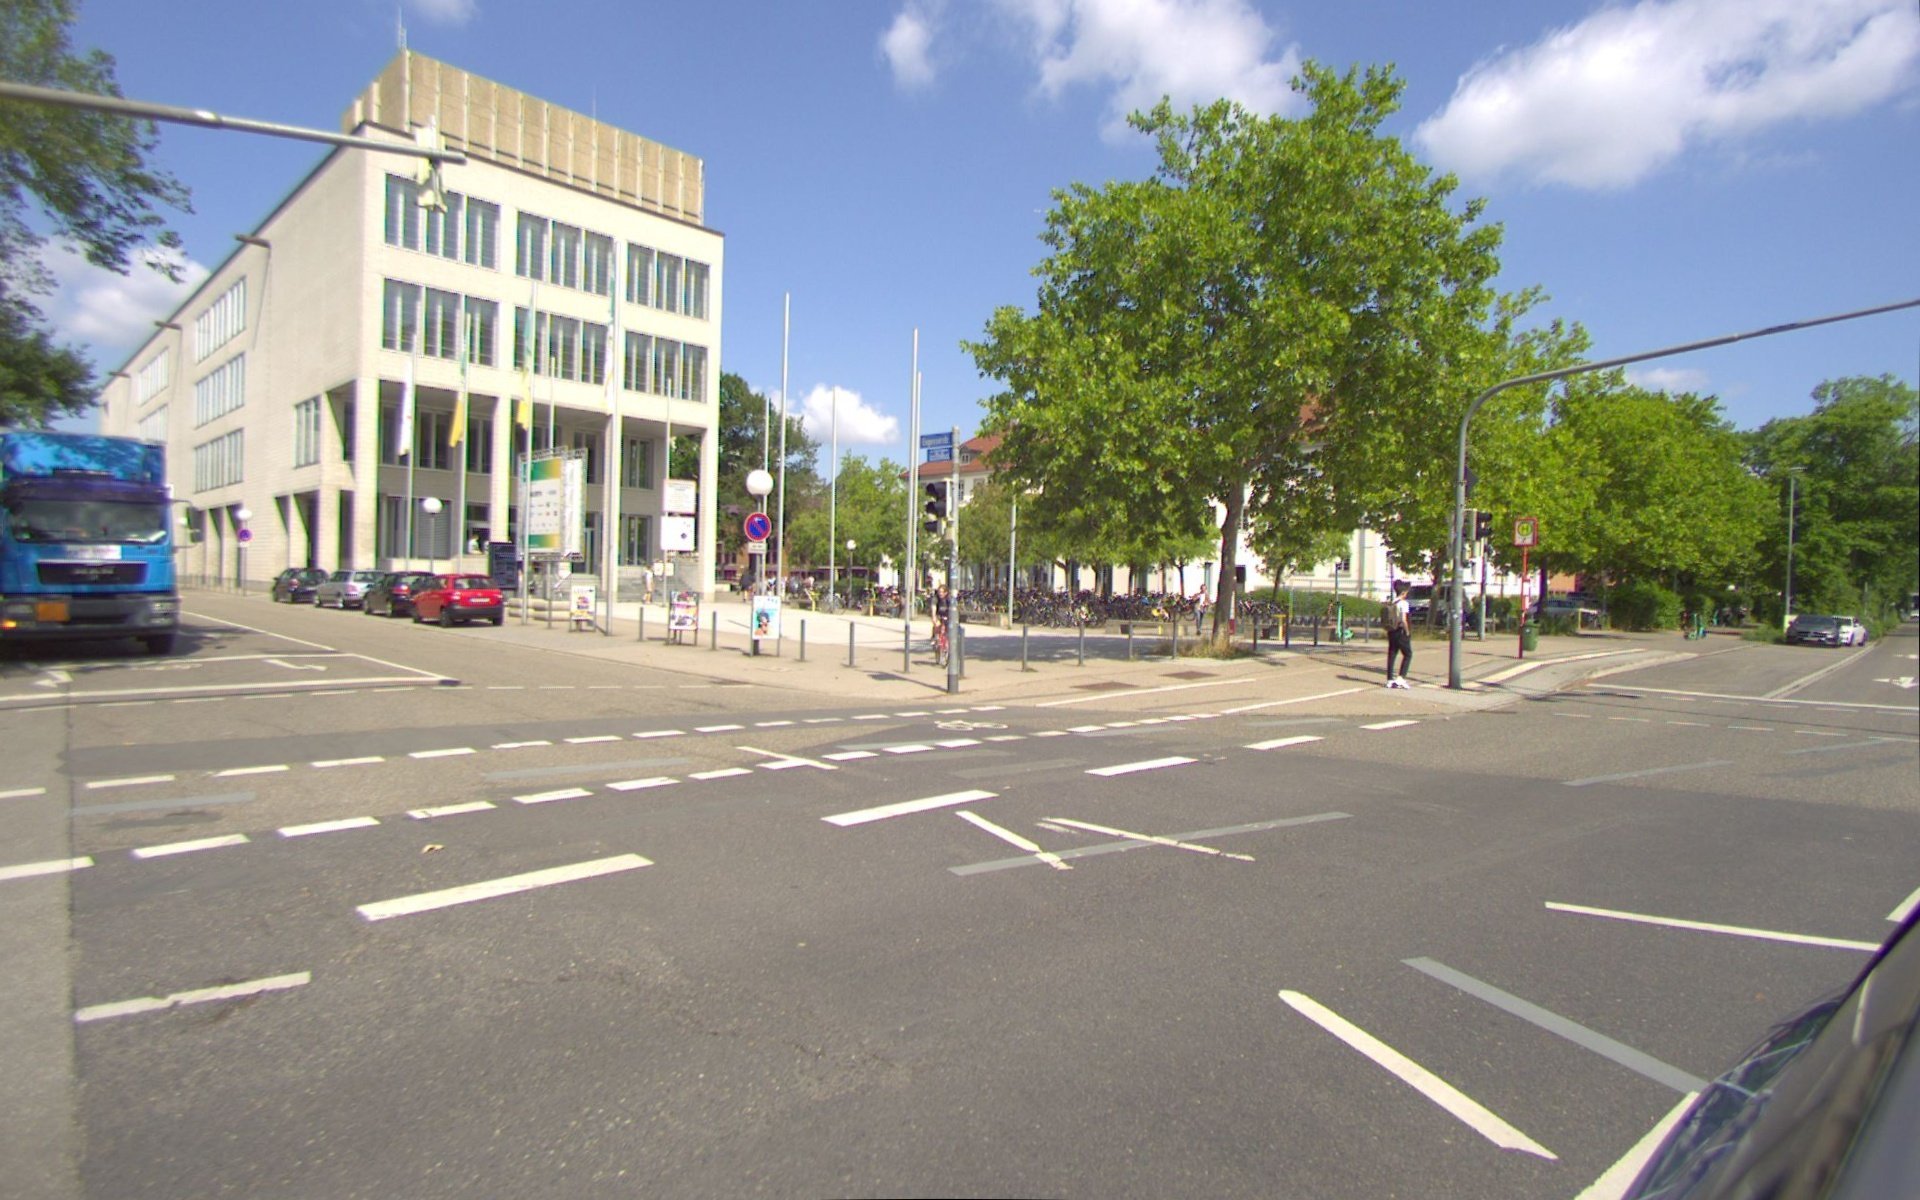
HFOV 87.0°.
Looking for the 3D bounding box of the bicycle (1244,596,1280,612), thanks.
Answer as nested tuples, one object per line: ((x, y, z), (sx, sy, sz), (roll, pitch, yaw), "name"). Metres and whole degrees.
((15.818, 0.217, 53.048), (1.666, 0.800, 0.617), (2, 1, 41), "bicycle")

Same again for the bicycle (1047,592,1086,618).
((4.769, 0.222, 45.318), (1.666, 1.111, 0.617), (2, 1, 41), "bicycle")

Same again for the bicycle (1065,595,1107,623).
((5.331, 0.367, 42.882), (1.666, 1.111, 0.617), (2, 1, 41), "bicycle")

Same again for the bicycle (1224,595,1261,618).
((14.400, 0.327, 51.596), (1.666, 1.111, 0.617), (2, 1, 41), "bicycle")

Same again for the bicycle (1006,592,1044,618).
((2.929, 0.206, 45.699), (1.666, 1.111, 0.617), (2, 1, 41), "bicycle")

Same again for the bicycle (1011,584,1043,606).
((3.628, -0.280, 54.998), (1.666, 1.111, 0.617), (2, 1, 41), "bicycle")

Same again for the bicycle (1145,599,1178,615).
((10.685, 0.350, 53.668), (1.666, 0.800, 0.617), (2, 1, 41), "bicycle")

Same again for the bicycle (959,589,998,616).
((0.801, 0.106, 43.467), (1.666, 1.111, 0.618), (2, 1, 41), "bicycle")

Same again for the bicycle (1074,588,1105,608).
((7.502, -0.120, 58.661), (1.666, 1.111, 0.617), (2, 1, 41), "bicycle")

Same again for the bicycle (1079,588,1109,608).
((7.871, -0.137, 59.656), (1.666, 1.111, 0.617), (2, 1, 41), "bicycle")

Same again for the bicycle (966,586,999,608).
((1.130, -0.152, 51.477), (1.666, 1.111, 0.617), (2, 1, 41), "bicycle")

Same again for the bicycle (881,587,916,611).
((-2.887, -0.045, 47.645), (1.666, 1.111, 0.618), (2, 1, 41), "bicycle")

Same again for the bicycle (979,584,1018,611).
((1.695, -0.122, 44.521), (1.666, 1.111, 0.617), (2, 1, 41), "bicycle")

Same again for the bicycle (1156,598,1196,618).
((9.551, 0.355, 44.785), (1.666, 0.800, 0.617), (2, 1, 41), "bicycle")

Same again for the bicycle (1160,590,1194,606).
((11.787, -0.106, 54.980), (1.666, 0.800, 0.617), (2, 1, 41), "bicycle")

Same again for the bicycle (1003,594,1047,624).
((2.544, 0.334, 39.431), (1.666, 1.111, 0.617), (2, 1, 41), "bicycle")

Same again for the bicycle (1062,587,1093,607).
((6.730, -0.168, 57.987), (1.666, 1.111, 0.617), (2, 1, 41), "bicycle")

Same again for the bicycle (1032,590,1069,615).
((4.237, 0.107, 47.627), (1.666, 1.111, 0.617), (2, 1, 41), "bicycle")

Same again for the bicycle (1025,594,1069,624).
((3.480, 0.350, 40.514), (1.666, 1.111, 0.617), (2, 1, 41), "bicycle")

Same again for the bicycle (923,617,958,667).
((-0.389, 0.793, 19.369), (0.608, 0.843, 1.516), (1, 1, -3), "bicycle")

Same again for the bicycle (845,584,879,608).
((-4.665, -0.179, 48.252), (1.666, 1.111, 0.618), (2, 1, 41), "bicycle")

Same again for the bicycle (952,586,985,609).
((0.435, -0.125, 50.855), (1.666, 1.111, 0.617), (2, 1, 41), "bicycle")

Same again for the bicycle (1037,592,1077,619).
((4.267, 0.234, 44.614), (1.666, 1.111, 0.617), (2, 1, 41), "bicycle")

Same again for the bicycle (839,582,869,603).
((-5.618, -0.402, 53.497), (1.666, 1.111, 0.618), (2, 1, 41), "bicycle")

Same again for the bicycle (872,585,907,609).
((-3.287, -0.143, 47.110), (1.666, 1.111, 0.618), (2, 1, 41), "bicycle")

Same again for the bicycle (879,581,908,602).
((-3.689, -0.489, 55.928), (1.666, 1.111, 0.618), (2, 1, 41), "bicycle")

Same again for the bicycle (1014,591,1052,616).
((3.348, 0.163, 46.374), (1.666, 1.111, 0.617), (2, 1, 41), "bicycle")

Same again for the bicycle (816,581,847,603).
((-6.588, -0.401, 51.855), (1.666, 1.111, 0.618), (2, 1, 41), "bicycle")

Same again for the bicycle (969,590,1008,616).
((1.230, 0.126, 44.021), (1.666, 1.111, 0.617), (2, 1, 41), "bicycle")

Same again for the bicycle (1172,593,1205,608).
((12.681, 0.039, 56.152), (1.666, 0.800, 0.617), (2, 1, 41), "bicycle")

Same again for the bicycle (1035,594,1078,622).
((3.913, 0.316, 41.052), (1.666, 1.111, 0.617), (2, 1, 41), "bicycle")

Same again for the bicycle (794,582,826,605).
((-7.532, -0.340, 50.781), (1.666, 1.111, 0.618), (2, 1, 41), "bicycle")

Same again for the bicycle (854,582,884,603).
((-4.916, -0.421, 54.398), (1.666, 1.111, 0.617), (2, 1, 41), "bicycle")

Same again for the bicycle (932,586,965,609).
((-0.570, -0.135, 49.998), (1.666, 1.111, 0.617), (2, 1, 41), "bicycle")

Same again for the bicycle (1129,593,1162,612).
((9.666, 0.139, 52.728), (1.666, 0.932, 0.465), (2, 1, 41), "bicycle")

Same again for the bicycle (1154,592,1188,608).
((11.336, 0.005, 54.421), (1.666, 0.800, 0.617), (2, 1, 41), "bicycle")

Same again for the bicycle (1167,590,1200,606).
((12.234, -0.102, 55.531), (1.666, 0.800, 0.617), (2, 1, 41), "bicycle")

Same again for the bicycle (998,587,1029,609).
((2.854, -0.121, 54.098), (1.666, 1.111, 0.617), (2, 1, 41), "bicycle")

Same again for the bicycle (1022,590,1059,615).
((3.741, 0.089, 46.937), (1.666, 1.111, 0.617), (2, 1, 41), "bicycle")

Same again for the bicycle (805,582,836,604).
((-7.095, -0.355, 51.348), (1.666, 1.111, 0.618), (2, 1, 41), "bicycle")

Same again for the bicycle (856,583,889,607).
((-4.232, -0.254, 48.868), (1.666, 1.111, 0.618), (2, 1, 41), "bicycle")

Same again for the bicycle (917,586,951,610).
((-1.261, -0.086, 49.135), (1.666, 1.111, 0.617), (2, 1, 41), "bicycle")

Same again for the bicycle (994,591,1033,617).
((2.381, 0.164, 45.124), (1.666, 1.111, 0.617), (2, 1, 41), "bicycle")

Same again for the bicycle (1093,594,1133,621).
((6.744, 0.313, 44.628), (1.666, 1.111, 0.617), (2, 1, 41), "bicycle")

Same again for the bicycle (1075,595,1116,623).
((5.804, 0.376, 43.392), (1.666, 1.111, 0.617), (2, 1, 41), "bicycle")

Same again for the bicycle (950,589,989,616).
((0.403, 0.097, 42.961), (1.666, 1.111, 0.618), (2, 1, 41), "bicycle")

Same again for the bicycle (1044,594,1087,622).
((4.334, 0.328, 41.564), (1.666, 1.111, 0.617), (2, 1, 41), "bicycle")

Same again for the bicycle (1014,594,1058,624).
((2.996, 0.347, 39.965), (1.666, 1.111, 0.617), (2, 1, 41), "bicycle")

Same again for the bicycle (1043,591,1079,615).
((4.821, 0.130, 48.244), (1.666, 1.111, 0.617), (2, 1, 41), "bicycle")

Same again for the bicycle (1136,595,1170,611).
((10.131, 0.145, 53.177), (1.666, 0.800, 0.617), (2, 1, 41), "bicycle")
